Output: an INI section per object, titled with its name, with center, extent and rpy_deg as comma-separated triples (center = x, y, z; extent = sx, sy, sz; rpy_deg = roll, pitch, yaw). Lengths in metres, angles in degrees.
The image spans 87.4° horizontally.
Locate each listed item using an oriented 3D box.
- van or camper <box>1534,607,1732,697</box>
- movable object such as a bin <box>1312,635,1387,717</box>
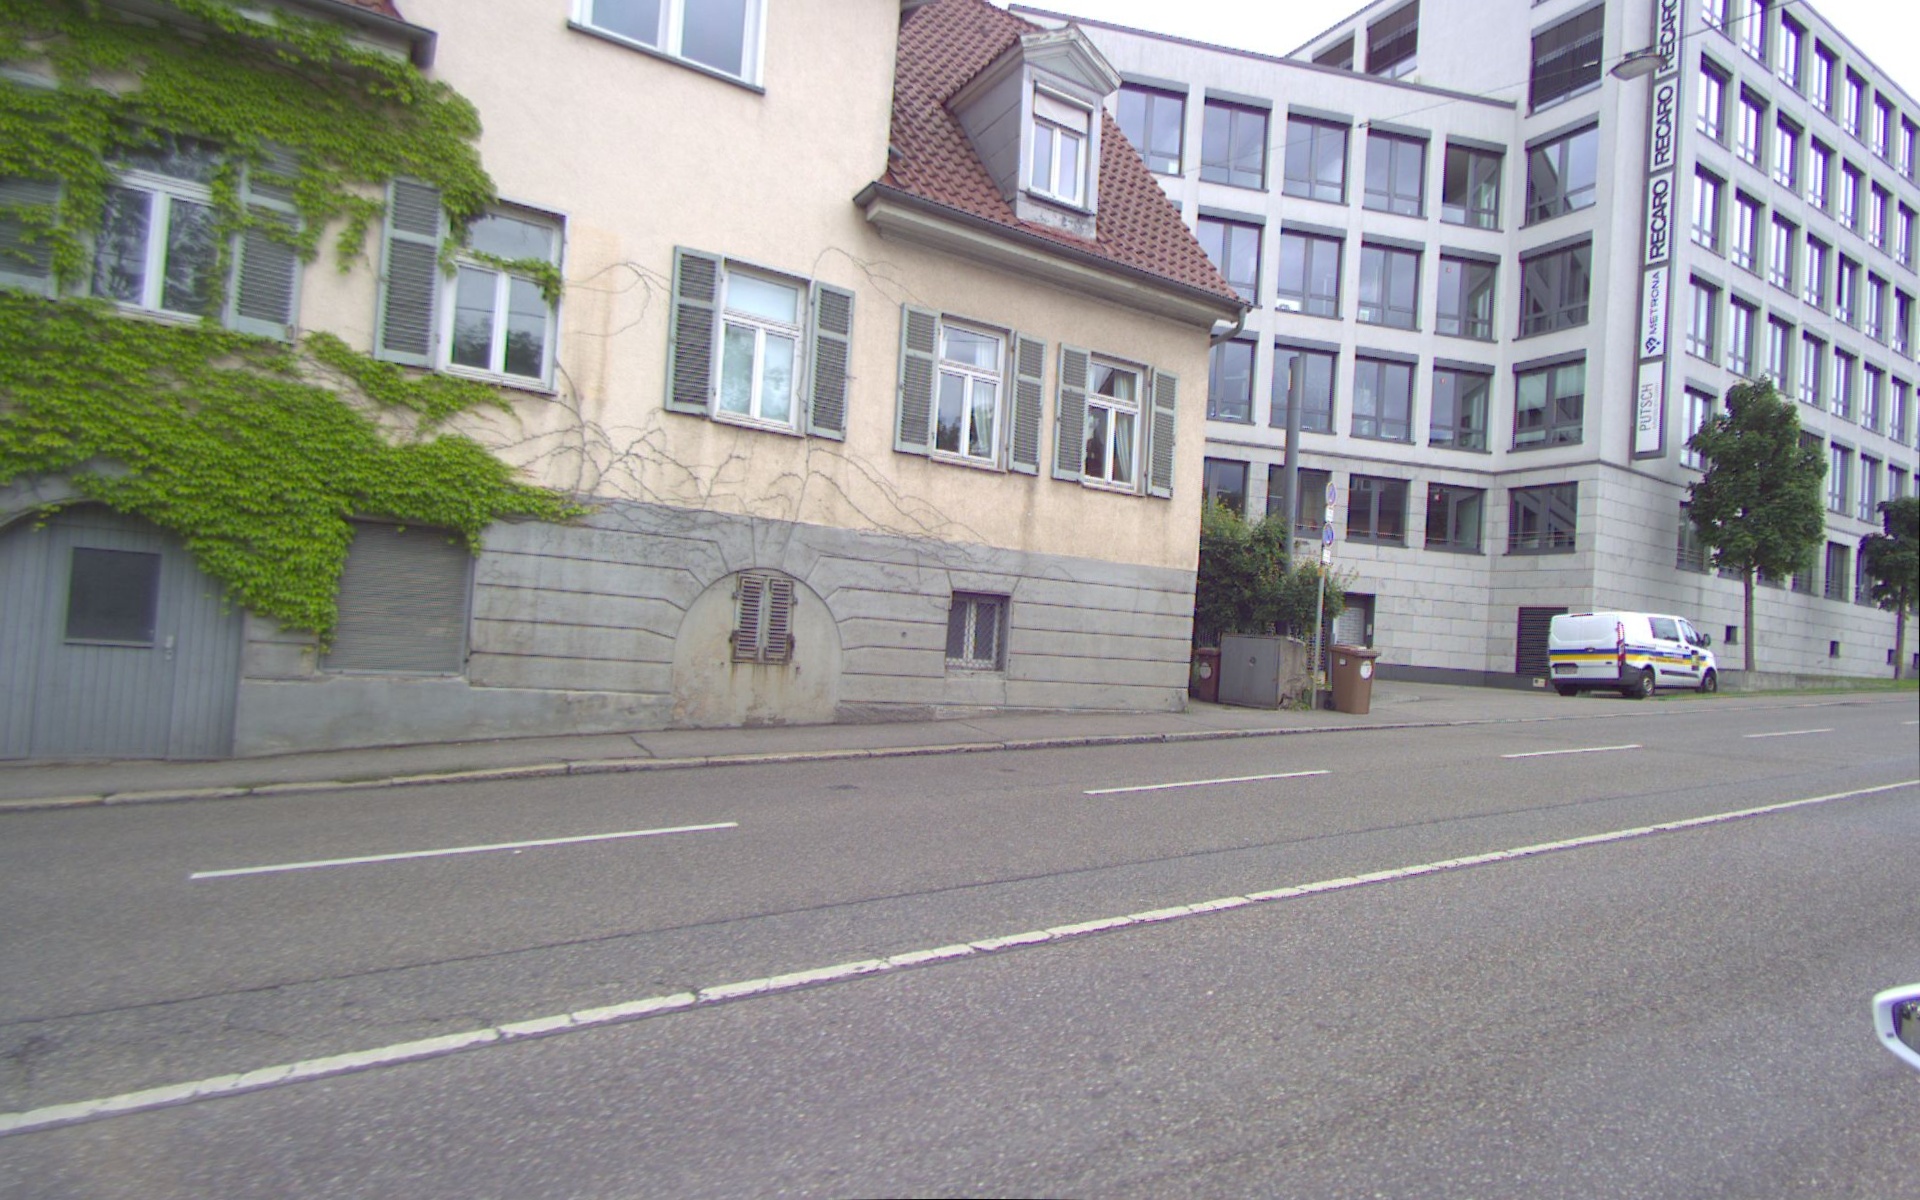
[van or camper]
center = 16.437, 1.277, 24.491
extent = 4.814, 1.993, 2.051
rpy_deg = 2, -3, -29
[movable object such as a bin]
center = 6.290, 1.210, 16.245
extent = 0.692, 1.205, 0.804
rpy_deg = 1, 4, -36
